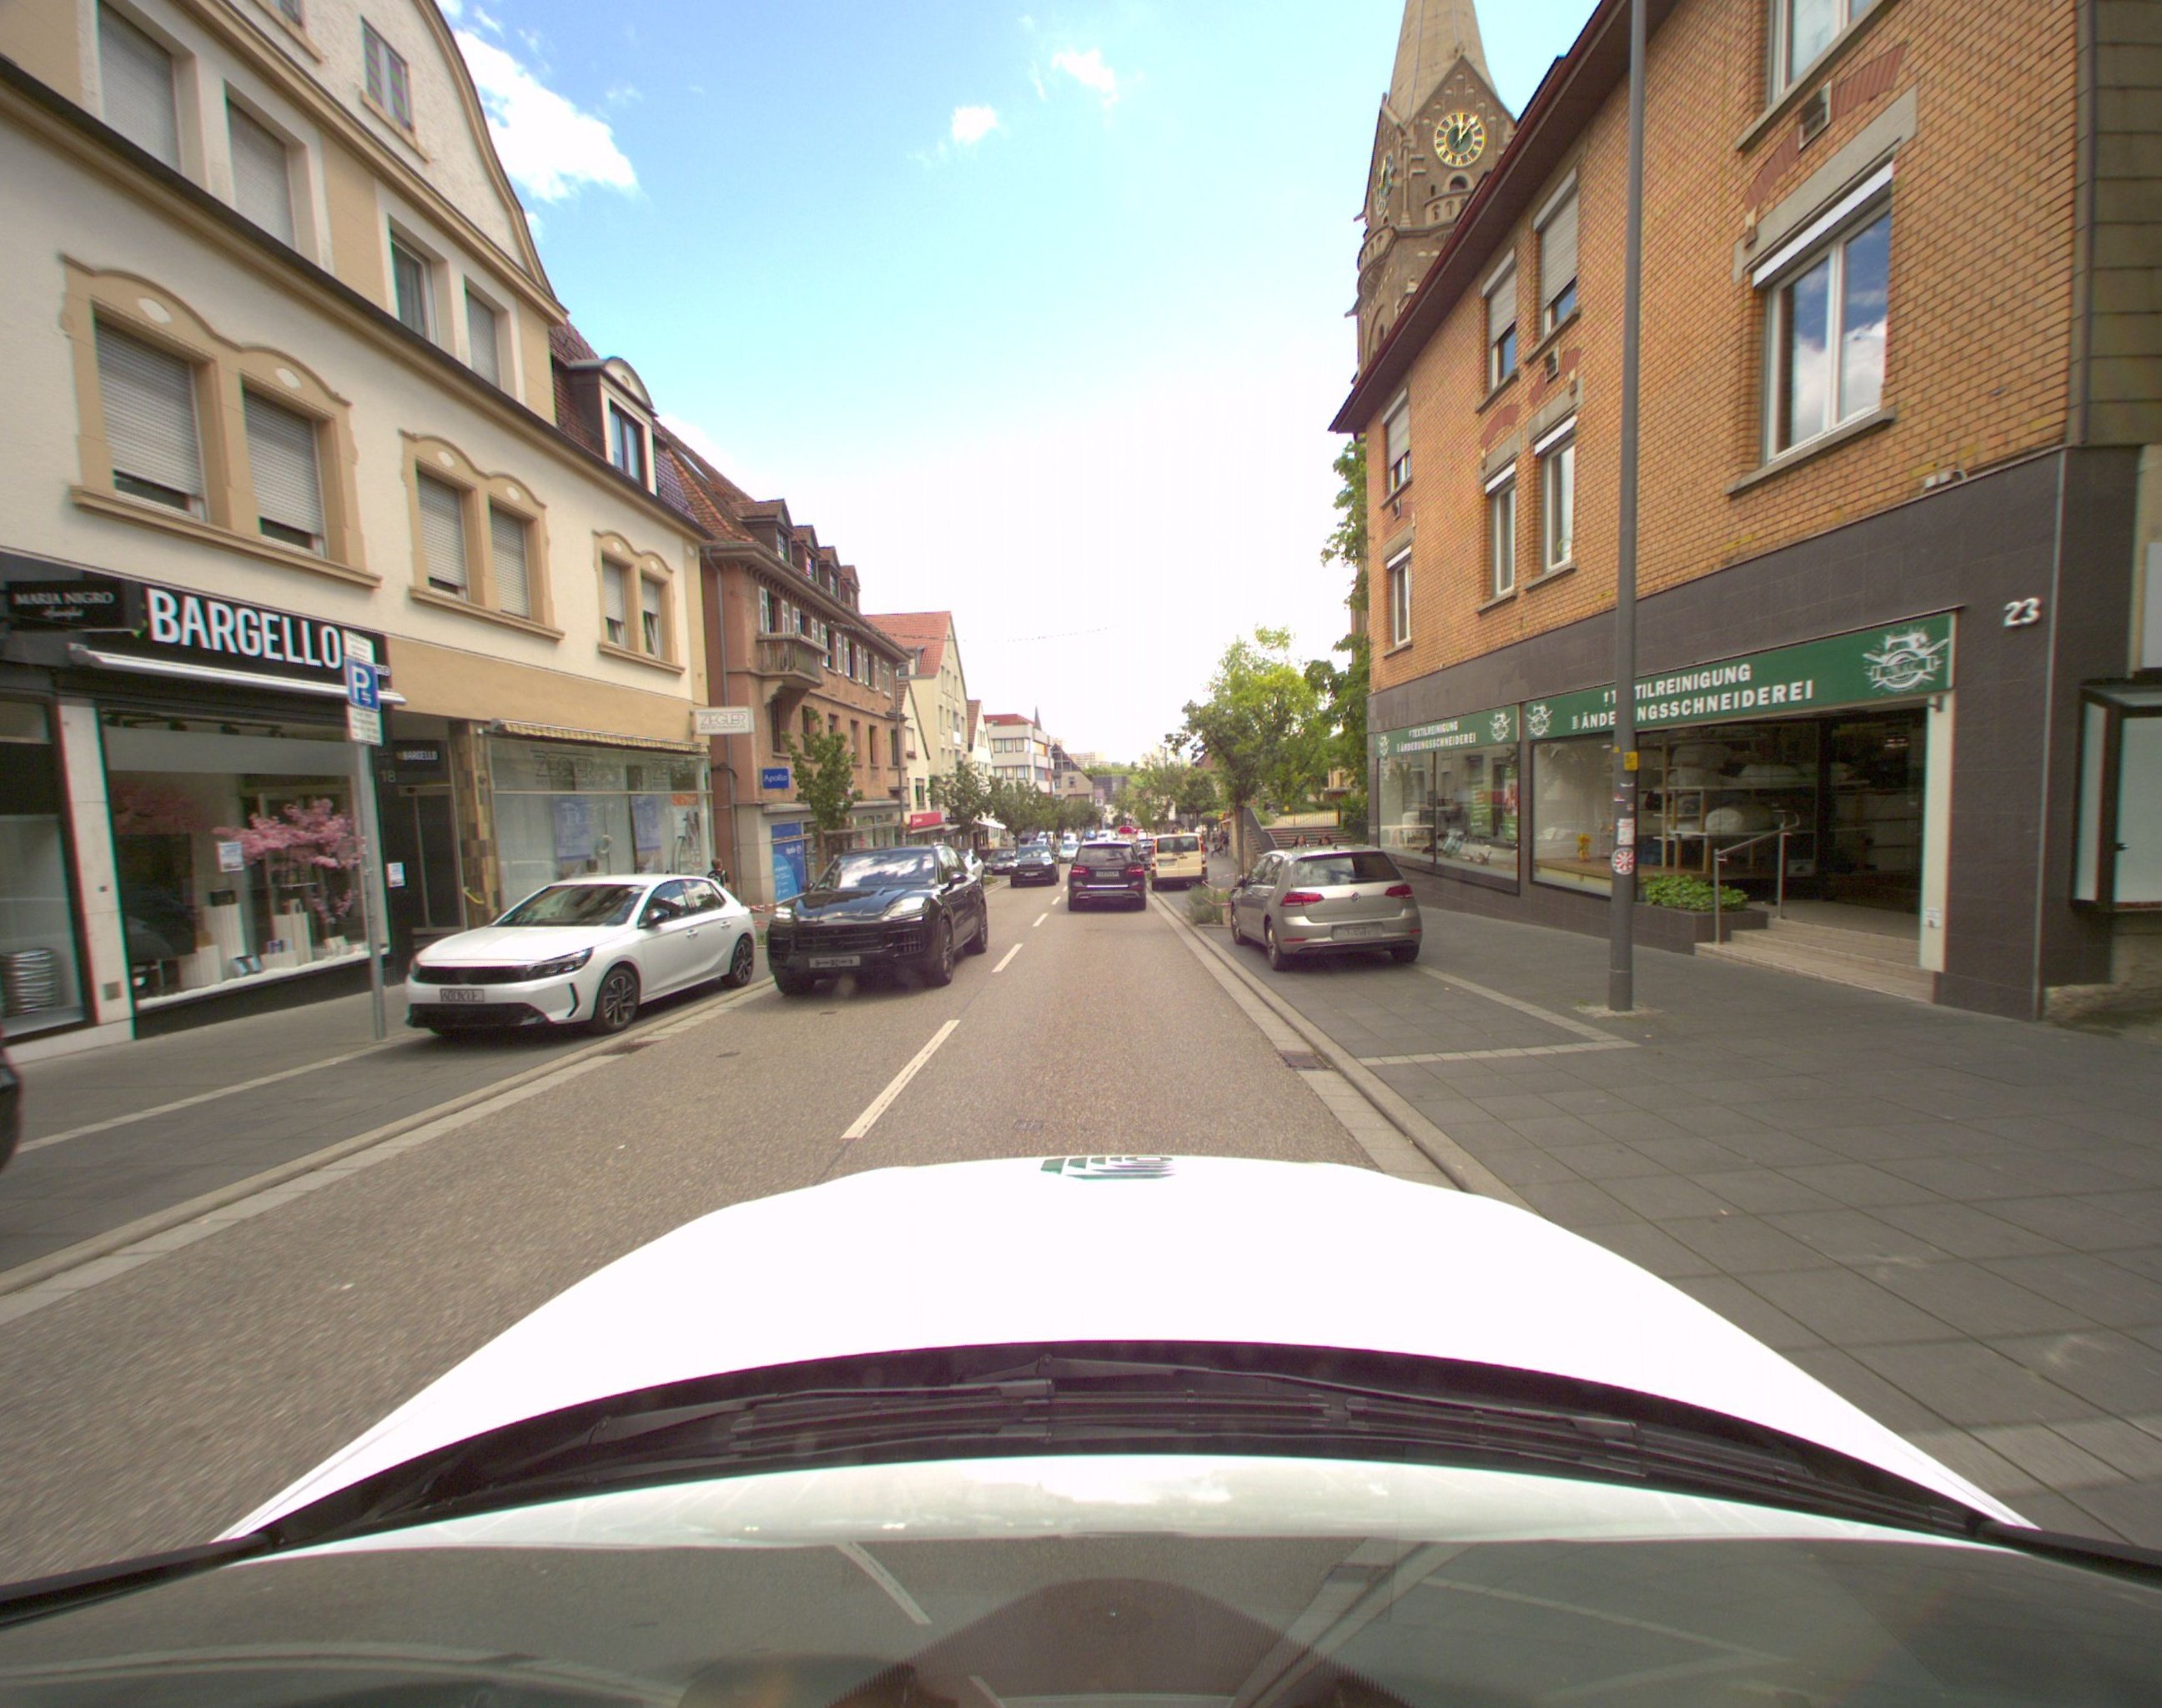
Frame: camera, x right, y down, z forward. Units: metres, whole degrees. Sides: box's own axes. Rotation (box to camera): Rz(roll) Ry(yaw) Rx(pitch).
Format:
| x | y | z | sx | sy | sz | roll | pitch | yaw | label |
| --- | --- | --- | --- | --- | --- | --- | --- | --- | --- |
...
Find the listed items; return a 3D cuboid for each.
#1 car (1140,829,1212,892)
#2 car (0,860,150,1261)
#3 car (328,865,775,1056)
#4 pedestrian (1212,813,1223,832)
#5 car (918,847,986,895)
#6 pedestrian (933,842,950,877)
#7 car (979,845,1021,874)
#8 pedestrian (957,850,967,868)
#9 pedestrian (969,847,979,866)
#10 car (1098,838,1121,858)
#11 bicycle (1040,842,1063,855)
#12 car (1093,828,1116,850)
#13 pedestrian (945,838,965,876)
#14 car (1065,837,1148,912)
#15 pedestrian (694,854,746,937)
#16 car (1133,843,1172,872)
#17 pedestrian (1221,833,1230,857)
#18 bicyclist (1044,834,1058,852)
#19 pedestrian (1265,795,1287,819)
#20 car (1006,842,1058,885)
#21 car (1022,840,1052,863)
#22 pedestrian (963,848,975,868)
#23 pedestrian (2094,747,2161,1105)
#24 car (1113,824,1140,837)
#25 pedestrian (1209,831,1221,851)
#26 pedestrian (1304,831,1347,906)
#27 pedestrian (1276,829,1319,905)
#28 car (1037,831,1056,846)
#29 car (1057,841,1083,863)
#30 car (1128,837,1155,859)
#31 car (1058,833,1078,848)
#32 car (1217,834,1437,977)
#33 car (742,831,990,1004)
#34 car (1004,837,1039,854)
| x | y | z | sx | sy | sz | roll | pitch | yaw | label |
| --- | --- | --- | --- | --- | --- | --- | --- | --- | --- |
| 3.228 | 0.159 | 28.537 | 1.931 | 1.891 | 4.708 | -4 | 1 | 1 | car |
| -5.379 | 0.868 | 1.508 | 1.920 | 1.621 | 4.640 | -1 | 0 | 0 | car |
| -5.200 | 0.915 | 8.888 | 1.919 | 1.430 | 4.265 | -1 | 1 | 2 | car |
| 16.361 | -3.775 | 97.523 | 1.003 | 2.151 | 1.073 | -4 | 0 | 20 | pedestrian |
| -4.671 | 0.567 | 30.141 | 1.921 | 1.595 | 4.456 | 0 | 1 | -2 | car |
| -6.746 | 0.268 | 39.420 | 0.639 | 1.667 | 0.720 | -1 | 0 | 1 | pedestrian |
| -4.574 | 0.262 | 46.510 | 1.920 | 1.496 | 4.263 | 0 | 1 | 0 | car |
| -8.245 | 0.339 | 56.375 | 0.563 | 1.281 | 0.759 | -2 | 0 | 1 | pedestrian |
| -7.413 | 0.149 | 56.436 | 0.563 | 1.281 | 0.759 | -2 | 0 | 1 | pedestrian |
| 2.413 | -0.558 | 69.095 | 1.919 | 1.628 | 4.264 | 0 | 1 | 2 | car |
| -2.663 | -0.494 | 73.870 | 1.967 | 1.057 | 0.706 | -4 | 1 | -26 | bicycle |
| 2.730 | -1.705 | 94.058 | 2.163 | 2.364 | 4.630 | -2 | 1 | 6 | car |
| -5.674 | 0.138 | 36.770 | 0.724 | 1.667 | 0.720 | -1 | 0 | 0 | pedestrian |
| 0.666 | 0.443 | 21.199 | 1.936 | 1.739 | 4.181 | -1 | 1 | 2 | car |
| -7.235 | 0.817 | 16.347 | 0.545 | 1.575 | 0.863 | -3 | 1 | 1 | pedestrian |
| 3.987 | 0.150 | 46.311 | 1.930 | 1.456 | 4.710 | -3 | 1 | 2 | car |
| 10.082 | -0.626 | 56.777 | 0.565 | 1.586 | 0.668 | -3 | 0 | 10 | pedestrian |
| -2.753 | -0.986 | 73.828 | 0.967 | 1.609 | 0.724 | -4 | 0 | -25 | bicyclist |
| 10.691 | -2.572 | 44.589 | 0.986 | 1.231 | 0.984 | -2 | 0 | 3 | pedestrian |
| -1.925 | 0.344 | 33.233 | 1.758 | 1.617 | 4.033 | -2 | 0 | 1 | car |
| -3.390 | -0.246 | 62.998 | 1.919 | 1.628 | 4.264 | -1 | 1 | 2 | car |
| -7.568 | 0.272 | 54.973 | 0.684 | 1.281 | 0.676 | -3 | 0 | 1 | pedestrian |
| 5.098 | 0.300 | 3.264 | 0.733 | 1.585 | 1.000 | -5 | 0 | 0 | pedestrian |
| 7.539 | -3.834 | 134.437 | 4.143 | 2.029 | 1.799 | -2 | 0 | 35 | car |
| 13.854 | -1.341 | 84.237 | 1.044 | 1.912 | 0.939 | -4 | 0 | 8 | pedestrian |
| 5.526 | 0.319 | 18.433 | 0.670 | 1.632 | 0.669 | -4 | 0 | -1 | pedestrian |
| 4.833 | 0.284 | 18.213 | 0.670 | 1.632 | 0.669 | -4 | 0 | -1 | pedestrian |
| -3.817 | -1.732 | 90.272 | 1.920 | 1.628 | 4.414 | 0 | 1 | 0 | car |
| -0.789 | -0.154 | 61.267 | 1.806 | 1.508 | 4.001 | -3 | 1 | 1 | car |
| 4.648 | -0.518 | 63.279 | 1.930 | 1.544 | 4.710 | -2 | 1 | 2 | car |
| -1.390 | -1.470 | 87.258 | 1.919 | 1.628 | 4.264 | 0 | 1 | 2 | car |
| 3.089 | 0.558 | 11.133 | 1.742 | 1.465 | 4.075 | -4 | 0 | 1 | car |
| -2.522 | 0.657 | 10.860 | 1.985 | 1.718 | 4.447 | -3 | 0 | 1 | car |
| -7.085 | -1.070 | 97.743 | 3.977 | 1.749 | 1.998 | -4 | 1 | -3 | car |
